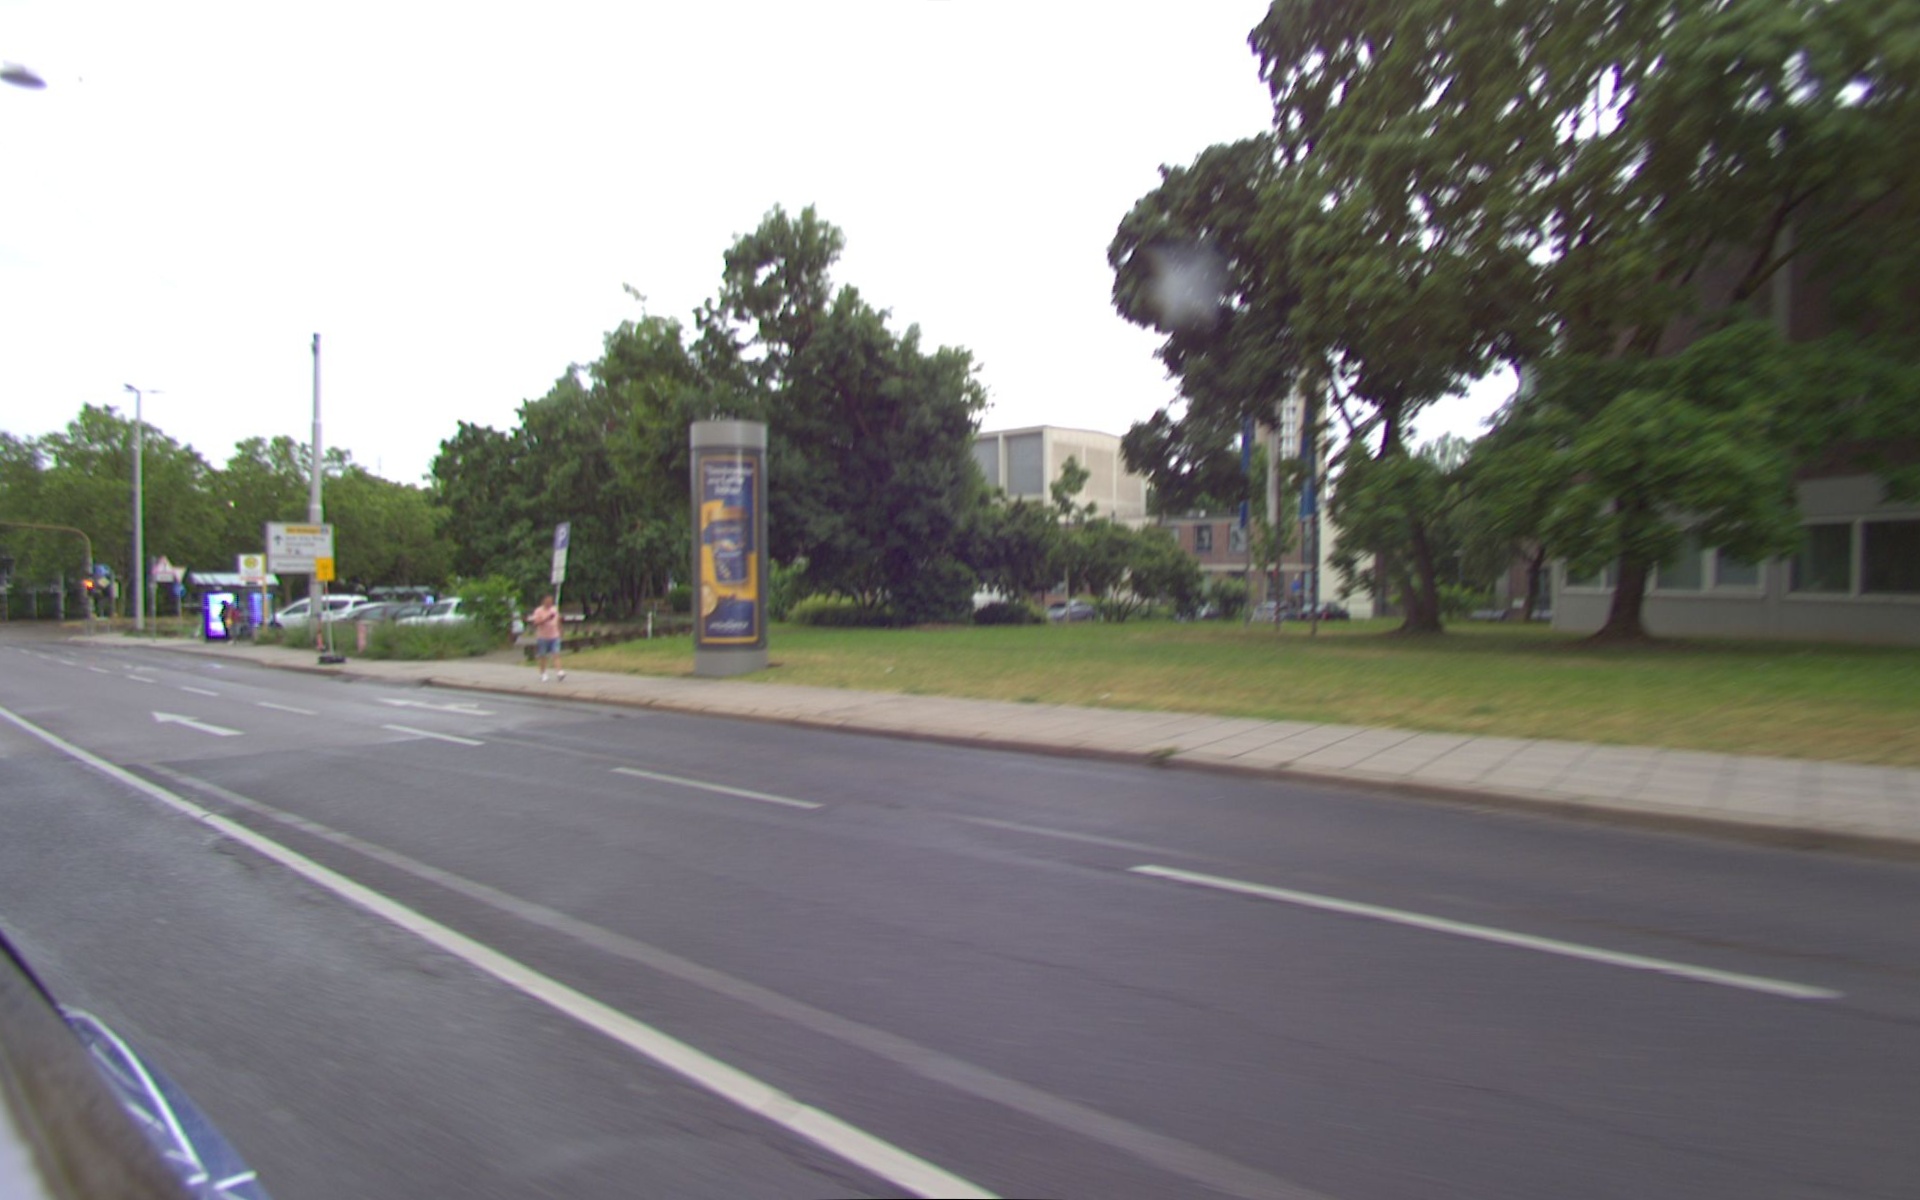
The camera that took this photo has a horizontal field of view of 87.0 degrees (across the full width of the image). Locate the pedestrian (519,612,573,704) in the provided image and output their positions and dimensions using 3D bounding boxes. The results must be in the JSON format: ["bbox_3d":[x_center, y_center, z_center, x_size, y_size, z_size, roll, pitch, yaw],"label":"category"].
[{"bbox_3d":[-8.053,1.098,19.682,0.662,1.699,0.914,-3,2,-42],"label":"pedestrian"}]

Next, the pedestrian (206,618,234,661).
[{"bbox_3d":[-30.066,1.592,41.102,0.670,1.708,0.678,-1,1,33],"label":"pedestrian"}]

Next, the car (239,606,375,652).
[{"bbox_3d":[-29.033,1.256,45.146,4.650,1.768,2.019,-2,1,-7],"label":"car"}]

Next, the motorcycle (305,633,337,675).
[{"bbox_3d":[-20.376,1.705,32.270,1.267,1.256,0.509,-1,2,43],"label":"motorcycle"}]

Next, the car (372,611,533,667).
[{"bbox_3d":[-16.752,1.271,33.482,4.473,1.621,1.864,-2,1,8],"label":"car"}]

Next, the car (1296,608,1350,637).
[{"bbox_3d":[19.952,1.206,55.539,1.653,1.360,3.802,-1,2,38],"label":"car"}]

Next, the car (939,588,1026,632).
[{"bbox_3d":[1.674,0.671,72.270,2.741,2.781,6.123,0,2,45],"label":"car"}]

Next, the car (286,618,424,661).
[{"bbox_3d":[-23.663,1.506,39.737,4.305,1.359,1.911,-2,1,-19],"label":"car"}]

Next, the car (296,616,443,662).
[{"bbox_3d":[-21.907,1.412,37.748,4.504,1.359,1.911,-3,1,-24],"label":"car"}]

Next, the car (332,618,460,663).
[{"bbox_3d":[-19.953,1.408,35.931,3.539,1.359,1.847,-2,1,-10],"label":"car"}]

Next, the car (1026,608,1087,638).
[{"bbox_3d":[6.278,1.477,65.615,1.999,1.763,3.946,-2,0,41],"label":"car"}]

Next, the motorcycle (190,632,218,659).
[{"bbox_3d":[-36.001,2.164,48.185,1.261,1.256,0.511,-1,1,28],"label":"motorcycle"}]

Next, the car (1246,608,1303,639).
[{"bbox_3d":[17.921,1.307,57.566,1.796,1.530,3.950,-1,2,38],"label":"car"}]

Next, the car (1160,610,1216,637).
[{"bbox_3d":[13.694,1.385,60.724,1.780,1.385,3.885,-1,2,38],"label":"car"}]

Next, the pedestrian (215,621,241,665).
[{"bbox_3d":[-29.423,1.723,40.692,0.641,1.708,0.622,-1,1,33],"label":"pedestrian"}]
